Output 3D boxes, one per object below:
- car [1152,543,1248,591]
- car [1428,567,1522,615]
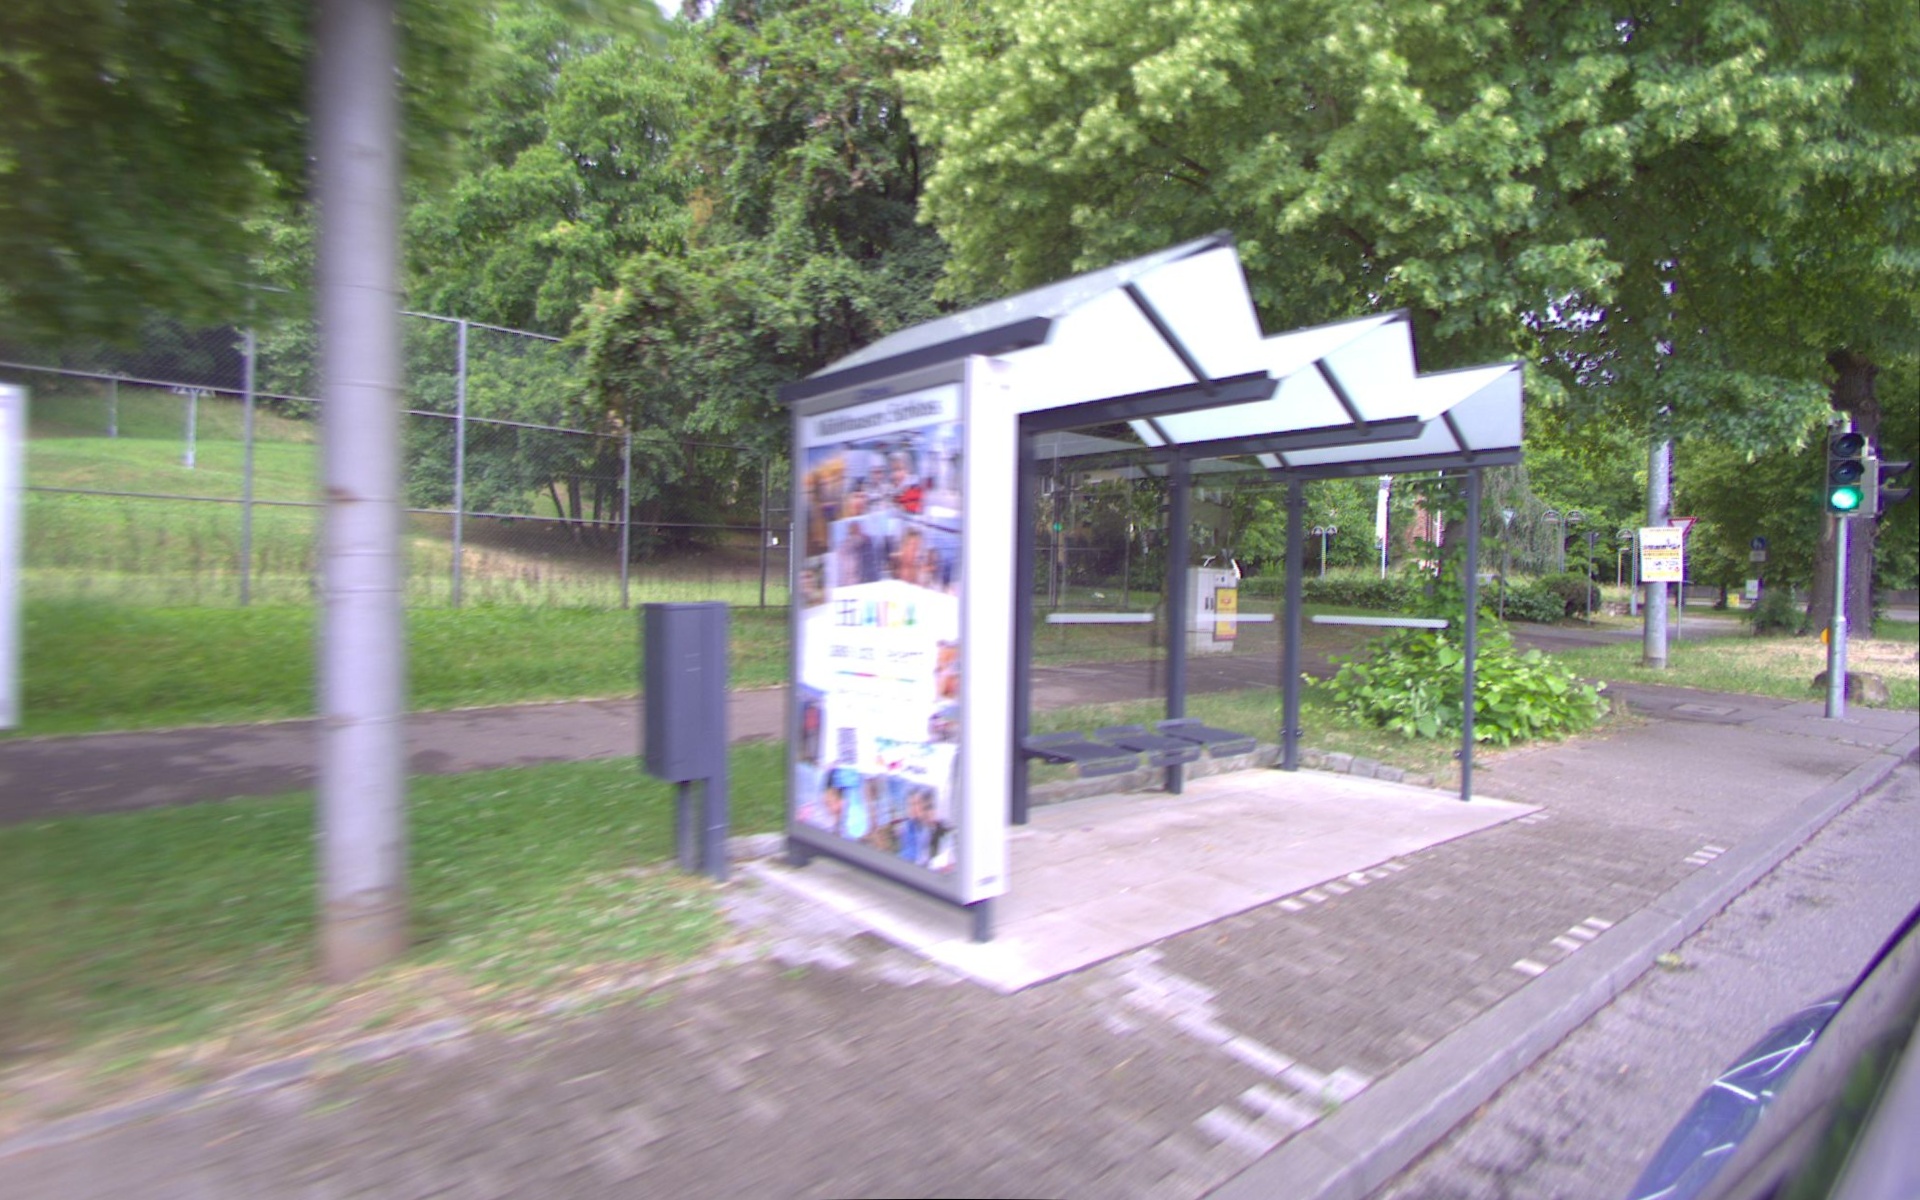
[{"bbox_3d":[10.209,-1.402,42.946,3.931,1.670,1.998,3,3,-42],"label":"car"},{"bbox_3d":[18.124,-0.290,35.534,1.905,1.448,4.400,5,1,40],"label":"car"}]
